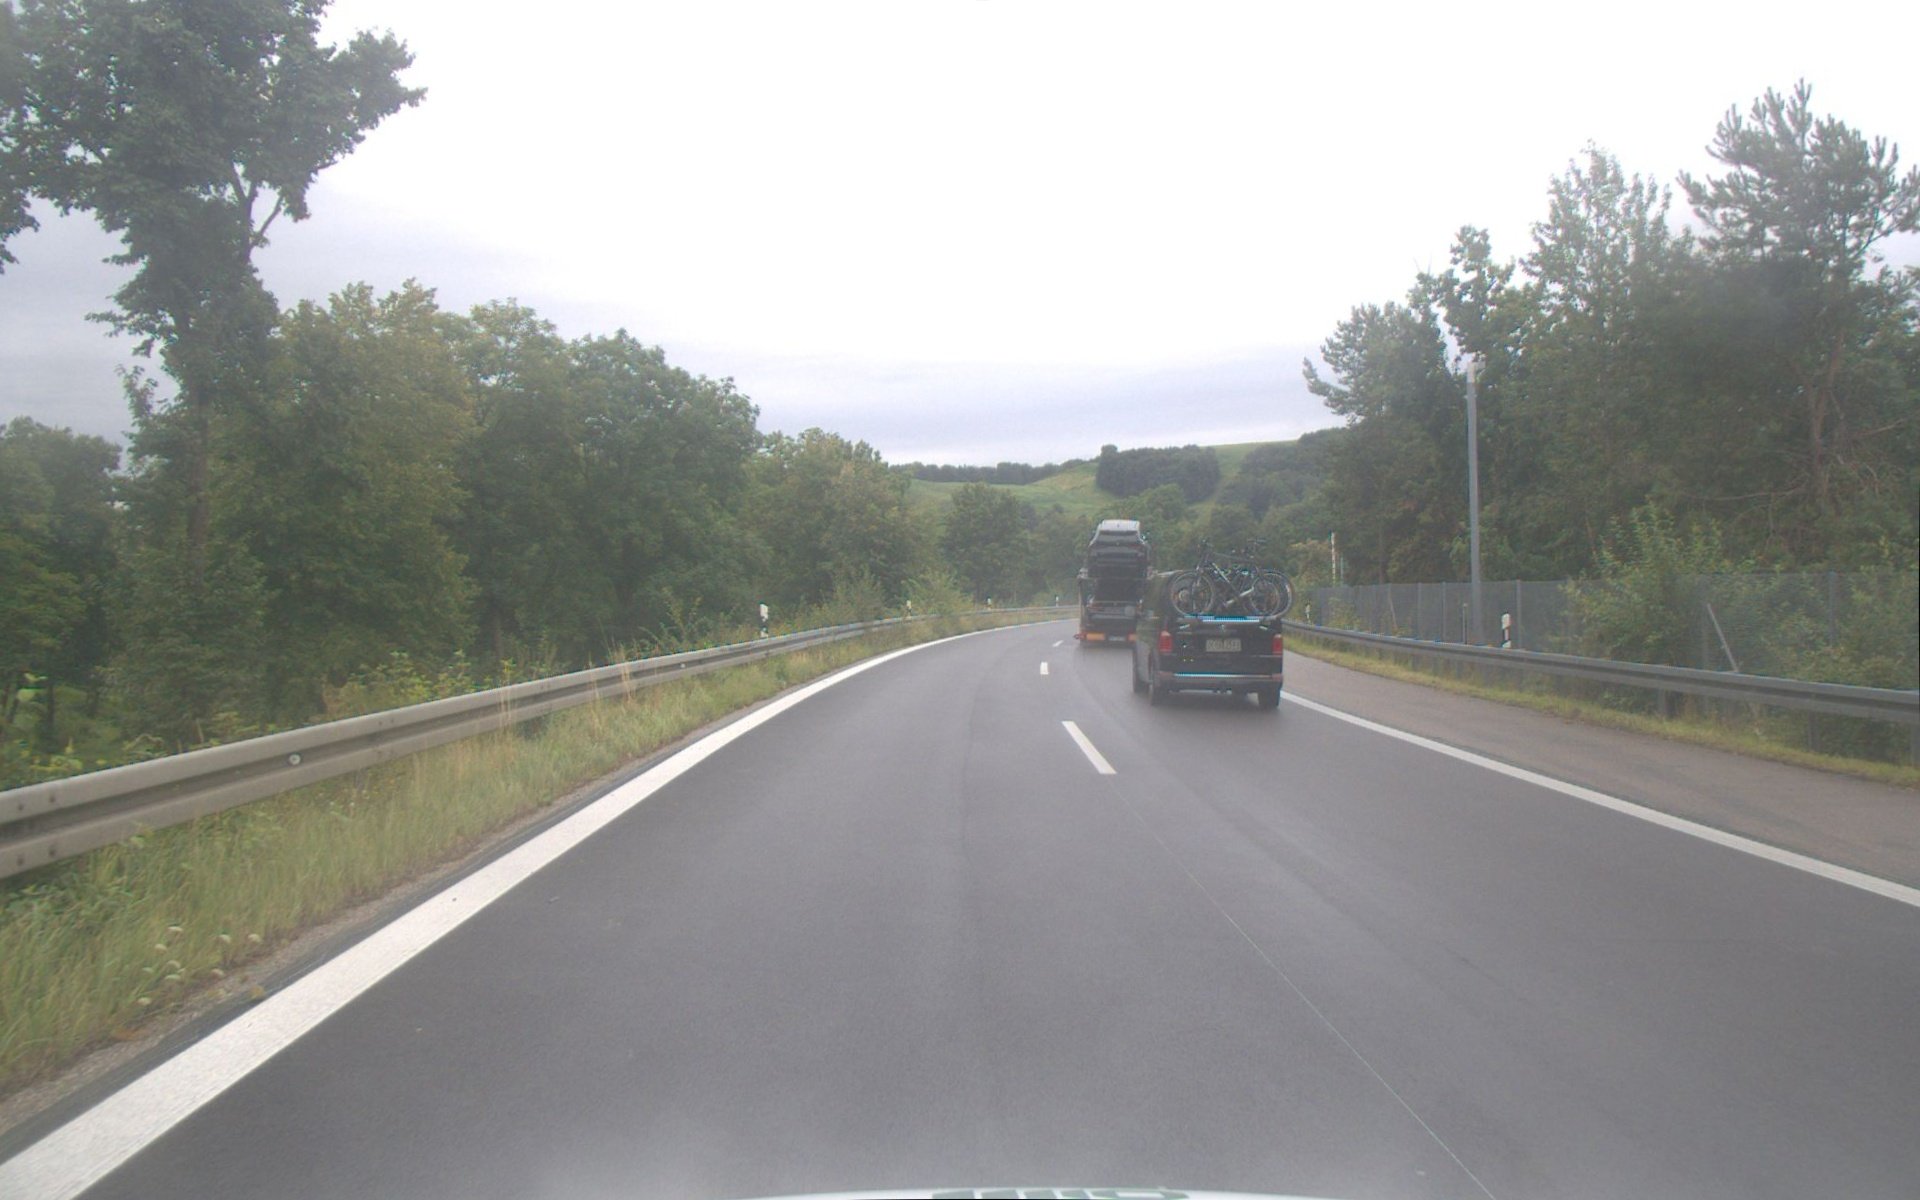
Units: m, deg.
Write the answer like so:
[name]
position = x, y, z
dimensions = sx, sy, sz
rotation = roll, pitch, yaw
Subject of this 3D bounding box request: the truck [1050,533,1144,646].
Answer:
[truck]
position = 5.345, -0.401, 66.369
dimensions = 3.324, 4.069, 10.850
rotation = 2, 0, 3

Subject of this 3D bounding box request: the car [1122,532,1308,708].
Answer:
[car]
position = 3.689, 0.245, 25.038
dimensions = 2.066, 2.304, 5.898
rotation = 1, 0, 2

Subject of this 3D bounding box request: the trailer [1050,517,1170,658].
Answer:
[trailer]
position = 4.778, -0.381, 54.954
dimensions = 3.377, 4.069, 12.031
rotation = 2, 0, 3

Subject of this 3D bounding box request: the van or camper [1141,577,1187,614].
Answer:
[van or camper]
position = 12.961, -0.251, 104.888
dimensions = 2.048, 2.270, 4.433
rotation = 1, 0, 17
